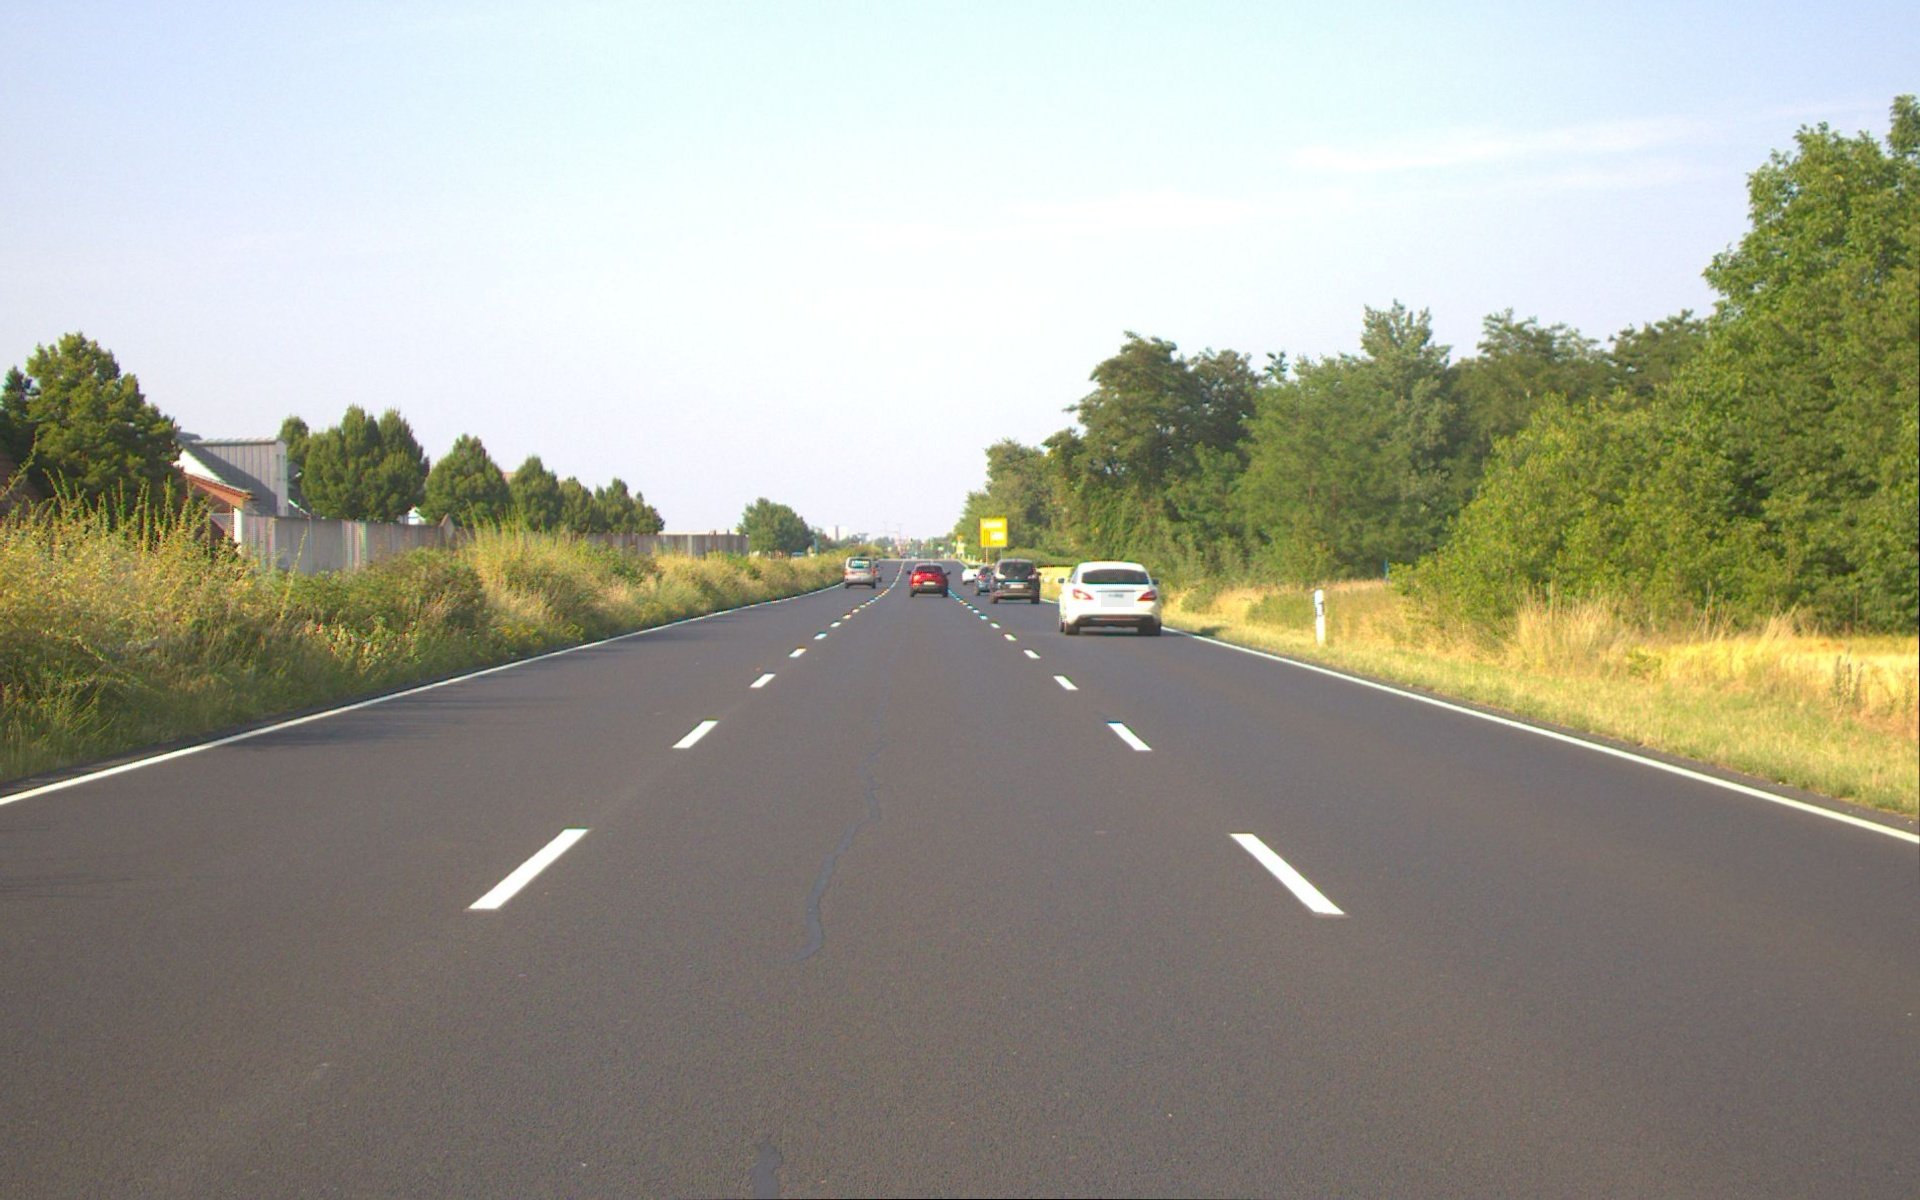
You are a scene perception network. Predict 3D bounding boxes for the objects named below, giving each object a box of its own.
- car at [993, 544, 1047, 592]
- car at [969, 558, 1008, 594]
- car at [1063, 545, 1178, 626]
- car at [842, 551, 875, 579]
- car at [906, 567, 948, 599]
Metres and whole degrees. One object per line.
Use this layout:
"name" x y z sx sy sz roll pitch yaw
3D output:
"car" 2.224 -1.187 127.759 1.828 1.722 4.000 1 0 -1
"car" 1.369 -1.167 167.846 1.834 1.711 3.862 1 0 0
"car" 3.119 -0.273 67.576 1.993 1.511 4.000 1 0 -1
"car" -6.092 -2.111 206.942 1.758 1.612 4.000 1 0 1
"car" -1.513 -0.764 155.918 1.812 1.431 3.859 1 0 -2
